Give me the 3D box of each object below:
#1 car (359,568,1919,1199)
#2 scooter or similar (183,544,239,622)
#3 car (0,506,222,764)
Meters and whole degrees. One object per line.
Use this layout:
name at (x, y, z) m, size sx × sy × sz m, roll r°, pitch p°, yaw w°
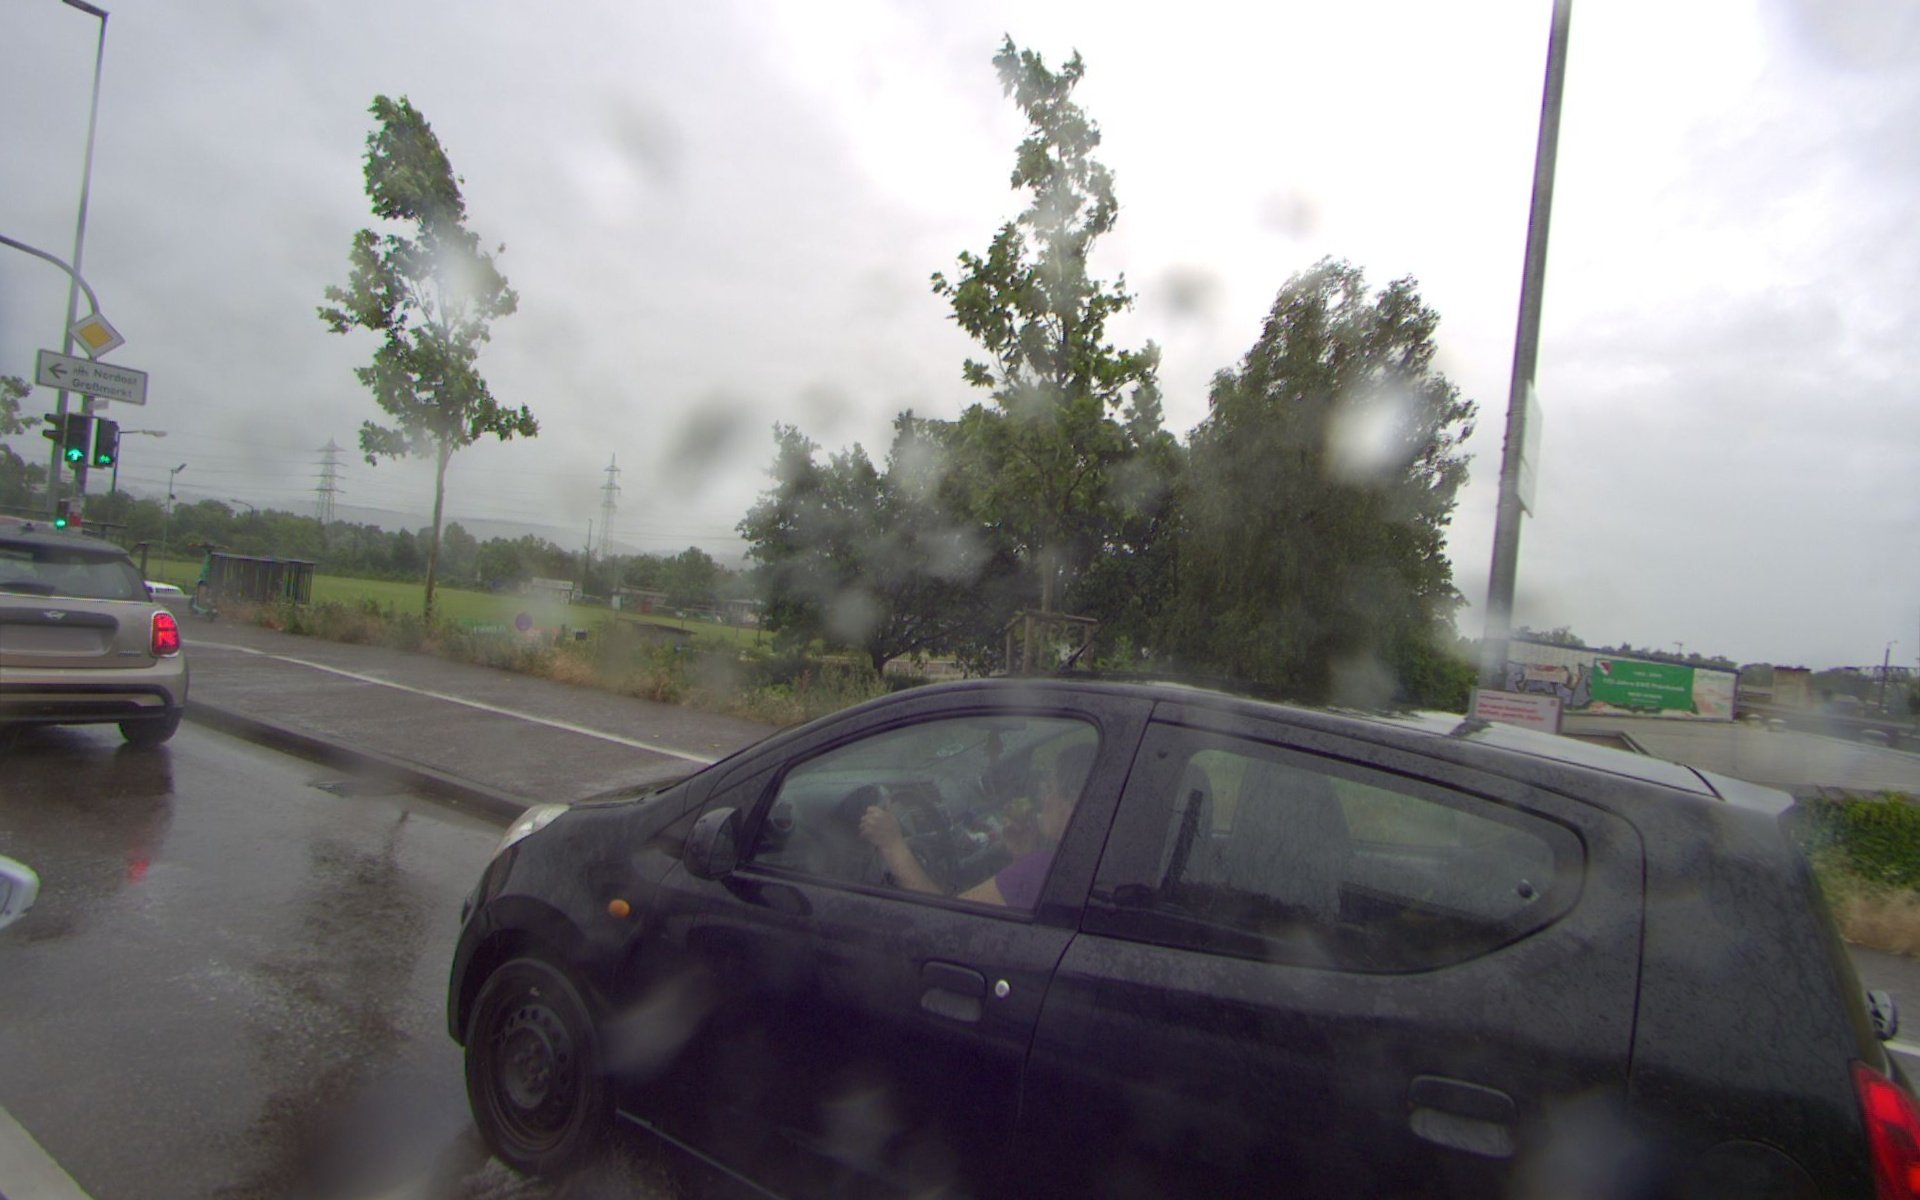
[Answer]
car at (0.405, 0.873, 2.467) m, size 3.564 × 1.445 × 1.632 m, roll 6°, pitch -2°, yaw 31°
scooter or similar at (-12.178, -0.289, 16.354) m, size 1.167 × 1.171 × 0.246 m, roll 5°, pitch -2°, yaw 34°
car at (-7.078, 0.090, 7.056) m, size 3.564 × 1.525 × 1.717 m, roll 6°, pitch -2°, yaw 31°
